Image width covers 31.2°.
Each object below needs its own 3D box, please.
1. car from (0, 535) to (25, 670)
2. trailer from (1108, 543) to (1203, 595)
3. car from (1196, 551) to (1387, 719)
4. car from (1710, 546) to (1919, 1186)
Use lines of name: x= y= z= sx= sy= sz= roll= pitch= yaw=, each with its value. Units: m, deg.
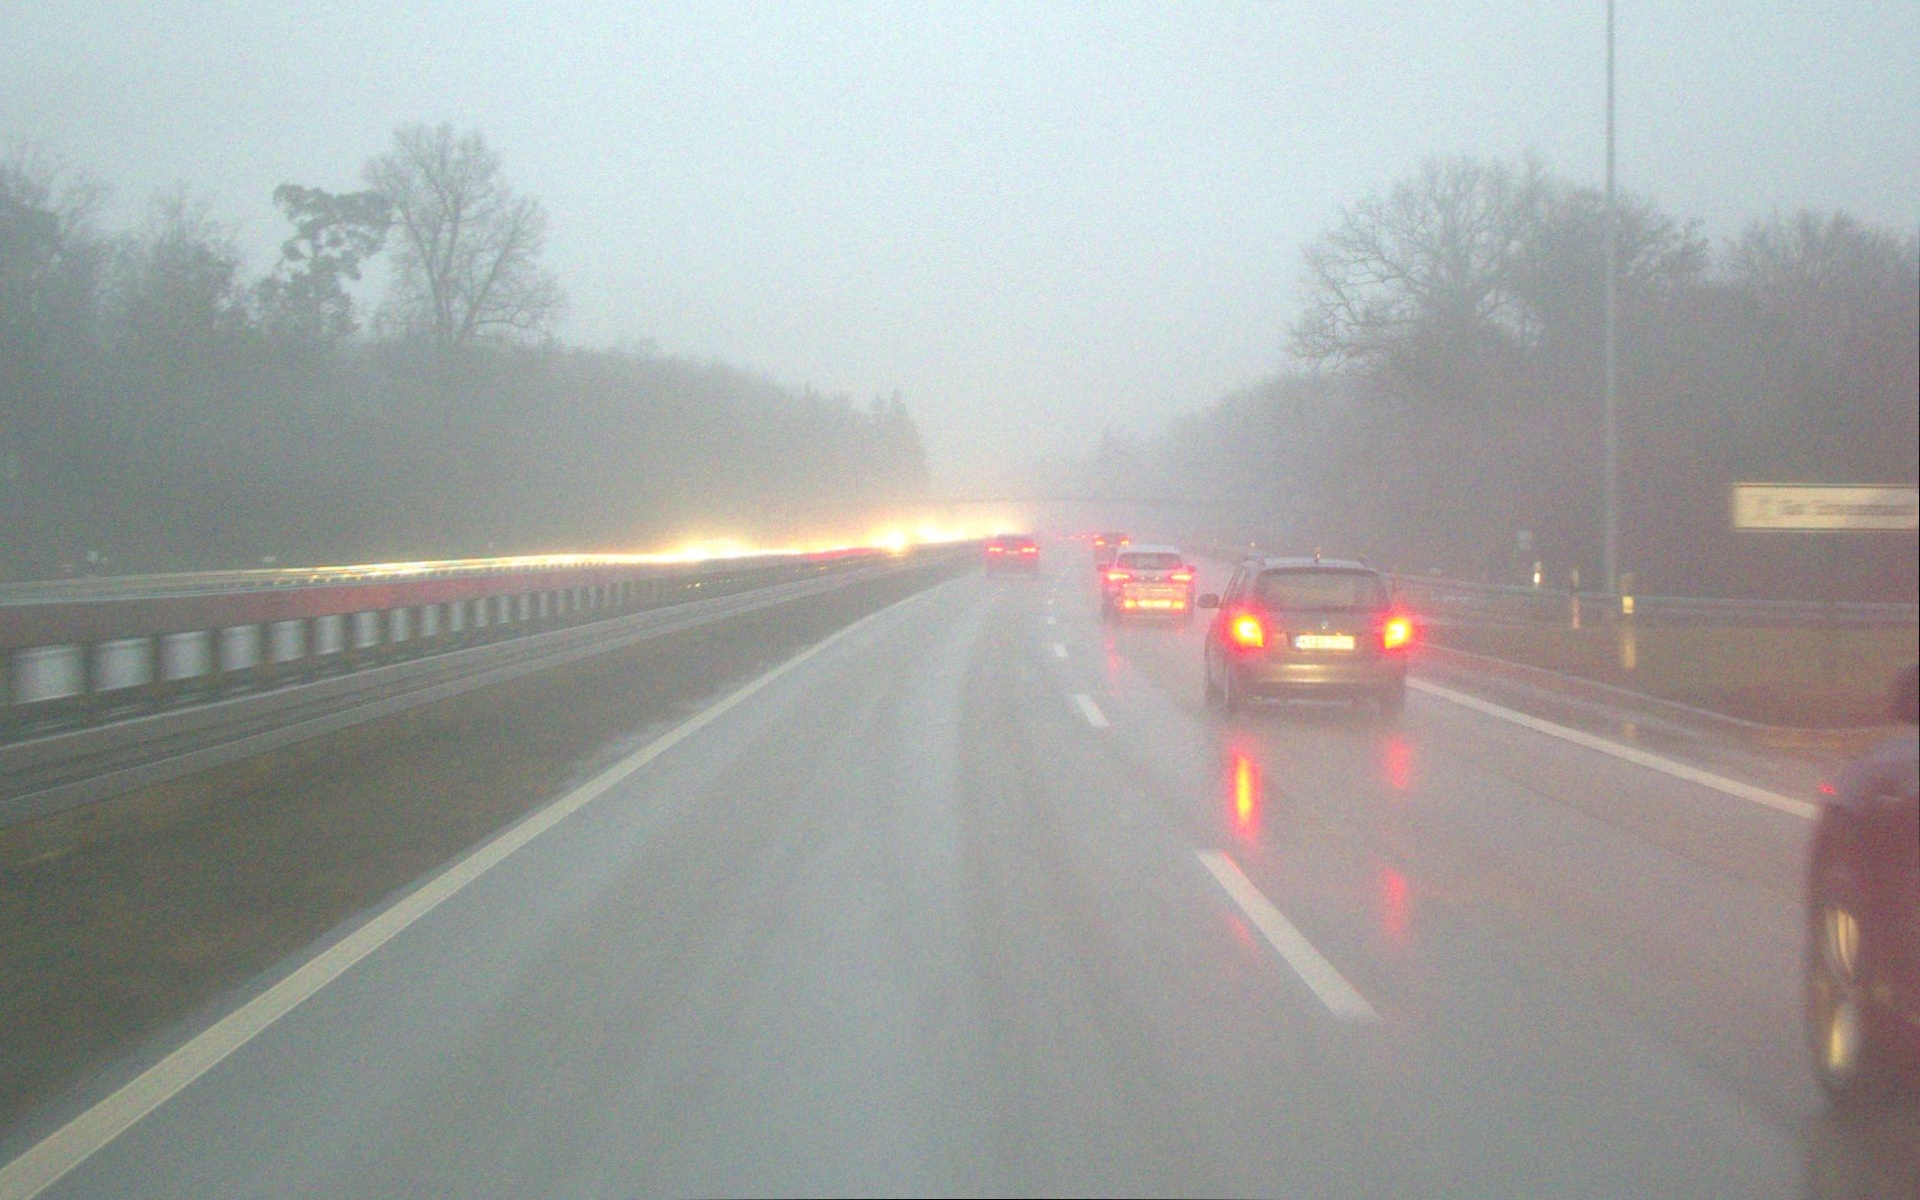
car: x=-11.243 y=0.059 z=35.474 sx=1.926 sy=1.434 sz=4.550 roll=0 pitch=1 yaw=0
trailer: x=3.720 y=-0.601 z=65.795 sx=1.748 sy=0.922 sz=2.951 roll=-1 pitch=1 yaw=2
car: x=3.119 y=0.288 z=32.859 sx=1.594 sy=1.485 sz=3.594 roll=0 pitch=1 yaw=2
car: x=3.116 y=0.639 z=8.331 sx=1.678 sy=1.503 sz=3.809 roll=0 pitch=1 yaw=-1
